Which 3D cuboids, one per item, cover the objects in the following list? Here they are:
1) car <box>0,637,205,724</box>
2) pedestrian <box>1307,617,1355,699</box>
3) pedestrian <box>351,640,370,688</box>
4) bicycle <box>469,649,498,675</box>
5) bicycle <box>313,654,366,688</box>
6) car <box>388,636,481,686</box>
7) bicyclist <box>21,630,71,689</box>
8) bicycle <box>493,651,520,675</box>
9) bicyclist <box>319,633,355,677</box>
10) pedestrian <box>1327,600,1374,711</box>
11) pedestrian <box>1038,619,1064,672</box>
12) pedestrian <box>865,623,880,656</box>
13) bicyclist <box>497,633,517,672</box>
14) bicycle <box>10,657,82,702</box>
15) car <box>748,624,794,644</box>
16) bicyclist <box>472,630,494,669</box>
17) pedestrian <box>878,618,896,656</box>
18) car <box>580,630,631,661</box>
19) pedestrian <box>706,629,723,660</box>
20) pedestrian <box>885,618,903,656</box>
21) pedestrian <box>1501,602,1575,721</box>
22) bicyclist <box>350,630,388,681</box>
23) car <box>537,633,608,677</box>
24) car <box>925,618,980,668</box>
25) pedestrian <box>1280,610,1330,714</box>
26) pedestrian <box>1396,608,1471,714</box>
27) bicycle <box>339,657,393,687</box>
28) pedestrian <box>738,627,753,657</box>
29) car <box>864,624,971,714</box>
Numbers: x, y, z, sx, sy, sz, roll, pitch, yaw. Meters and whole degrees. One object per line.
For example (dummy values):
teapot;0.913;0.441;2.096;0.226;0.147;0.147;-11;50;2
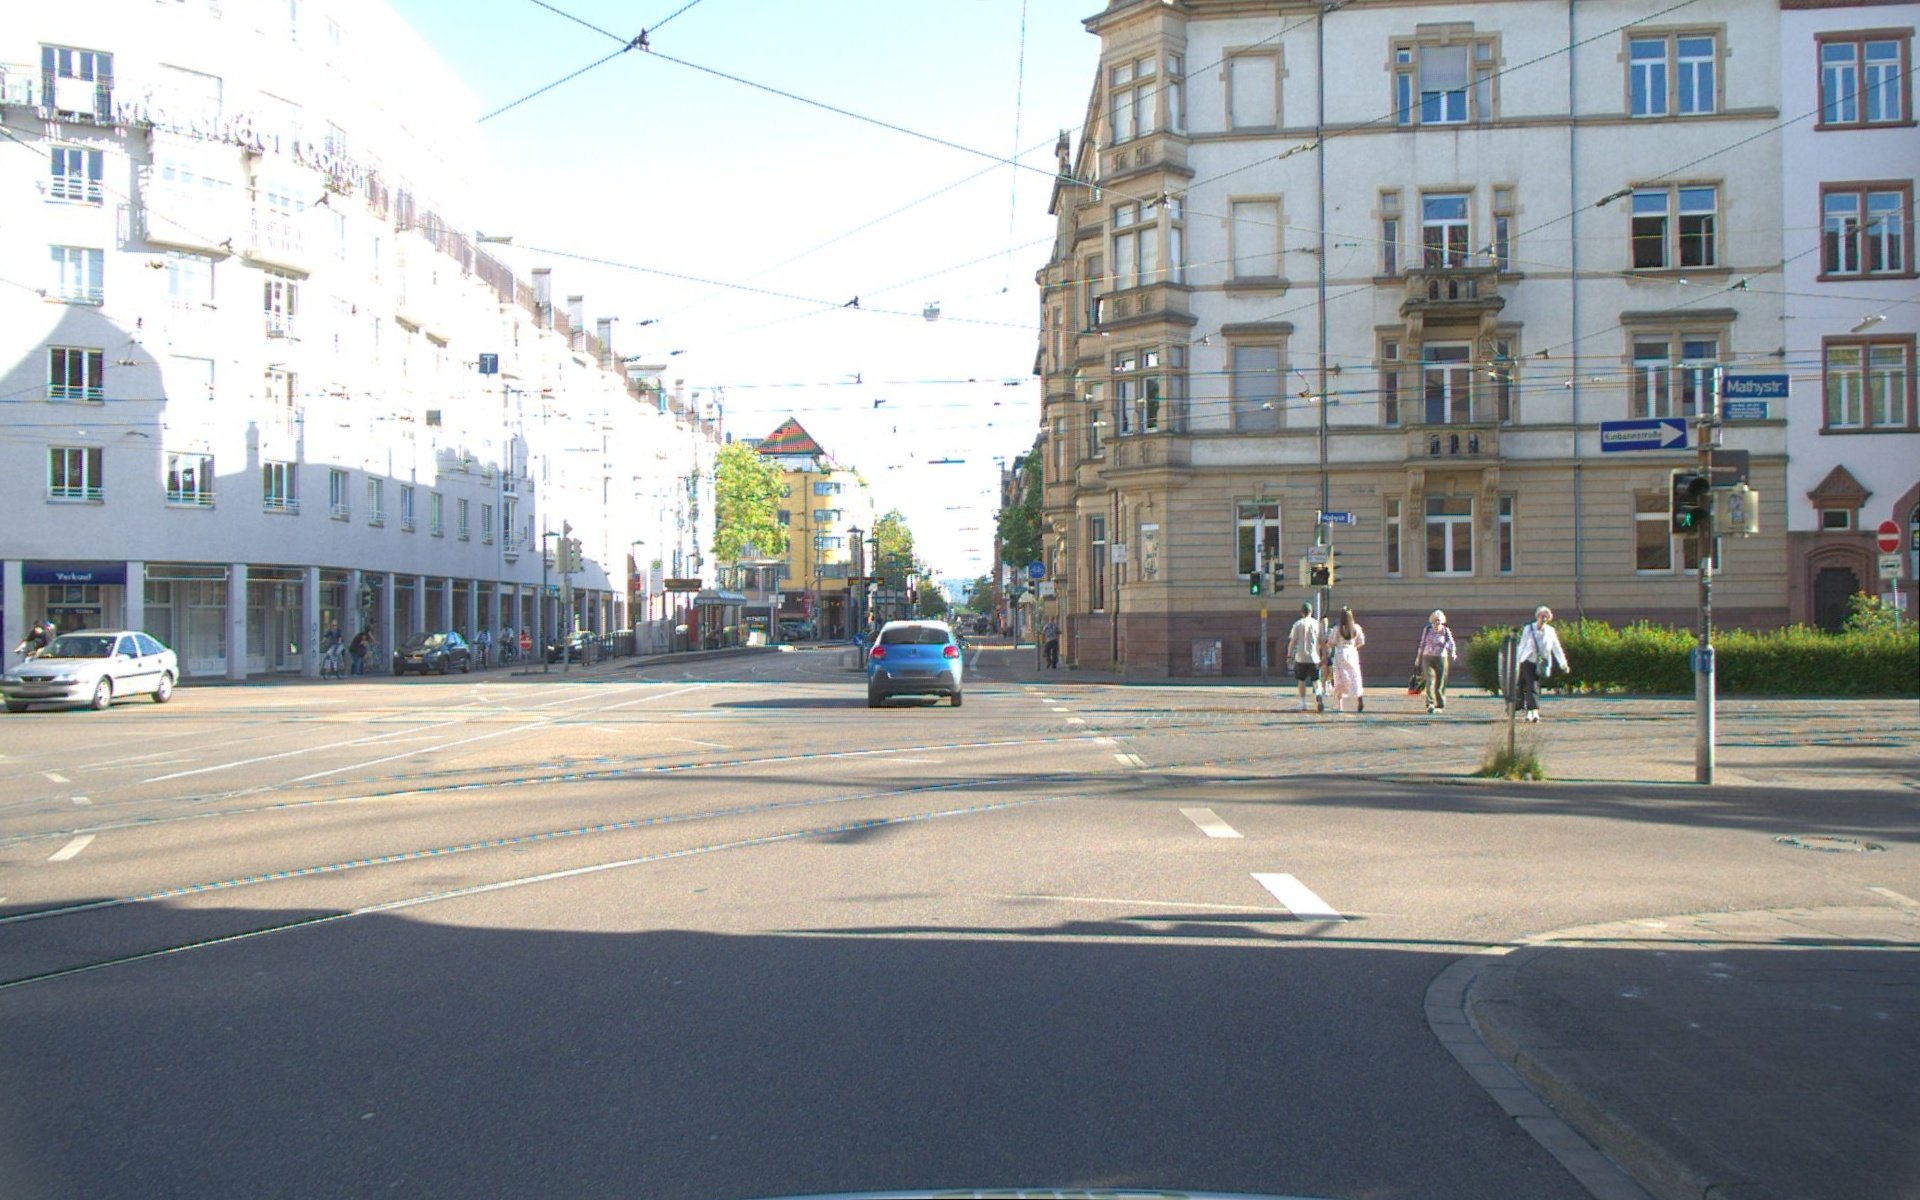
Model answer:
car;-16.359;1.469;31.420;1.953;1.477;4.649;0;-1;-1
pedestrian;7.228;1.125;32.201;0.621;1.565;0.939;-2;-3;32
pedestrian;-19.899;2.121;54.929;0.437;1.561;0.675;0;0;-36
bicycle;-18.790;2.456;65.257;0.582;0.989;2.011;-1;-2;-2
bicycle;-18.739;2.132;49.975;0.581;0.989;1.856;-1;-2;13
car;-17.834;2.073;56.287;1.953;1.624;3.998;-1;-2;-2
bicyclist;-20.478;1.327;37.087;0.576;1.308;0.927;-1;-2;1
bicycle;-18.918;2.611;69.020;0.582;0.989;2.046;-1;-2;-1
bicyclist;-18.770;1.653;49.867;0.576;1.308;0.993;-1;-2;12
pedestrian;6.374;0.900;26.960;0.630;1.776;0.705;0;-2;22
pedestrian;3.114;1.556;56.683;0.764;1.780;1.093;0;0;-2
pedestrian;-4.238;1.909;80.104;0.575;1.589;0.468;-1;-1;36
bicyclist;-18.868;2.191;68.913;0.576;1.613;0.895;0;-2;-2
bicycle;-20.483;1.773;37.102;0.581;0.989;1.818;-1;-2;1
car;-16.760;3.020;146.984;3.907;1.704;1.956;0;-1;-3
bicyclist;-18.772;1.947;65.102;0.576;1.514;0.927;-1;-2;-2
pedestrian;-3.558;1.801;80.693;0.705;1.809;0.563;-1;-1;36
car;-18.027;2.309;84.250;1.693;1.541;4.404;0;-1;0
pedestrian;-12.374;2.249;83.393;0.716;1.554;0.743;0;0;-1
pedestrian;-3.014;1.692;75.622;0.623;1.727;0.934;1;-2;8
pedestrian;8.270;0.884;23.715;0.903;1.661;1.010;-1;-2;15
bicyclist;-20.428;1.916;57.179;0.708;1.725;1.027;-1;-2;28
car;-17.714;2.485;75.803;2.181;1.944;4.608;0;-1;0
car;-0.261;1.654;62.613;1.952;1.773;4.000;1;-2;1
pedestrian;5.663;1.019;27.134;0.686;1.684;0.632;-1;-2;22
pedestrian;7.587;0.978;26.483;0.906;1.661;0.939;-2;-3;32
bicycle;-20.471;2.478;57.051;0.663;0.997;1.759;-1;-1;28
pedestrian;-11.493;2.264;88.482;0.716;1.586;0.743;0;0;-1
car;-0.713;1.198;29.868;1.744;1.476;3.654;1;-1;1
